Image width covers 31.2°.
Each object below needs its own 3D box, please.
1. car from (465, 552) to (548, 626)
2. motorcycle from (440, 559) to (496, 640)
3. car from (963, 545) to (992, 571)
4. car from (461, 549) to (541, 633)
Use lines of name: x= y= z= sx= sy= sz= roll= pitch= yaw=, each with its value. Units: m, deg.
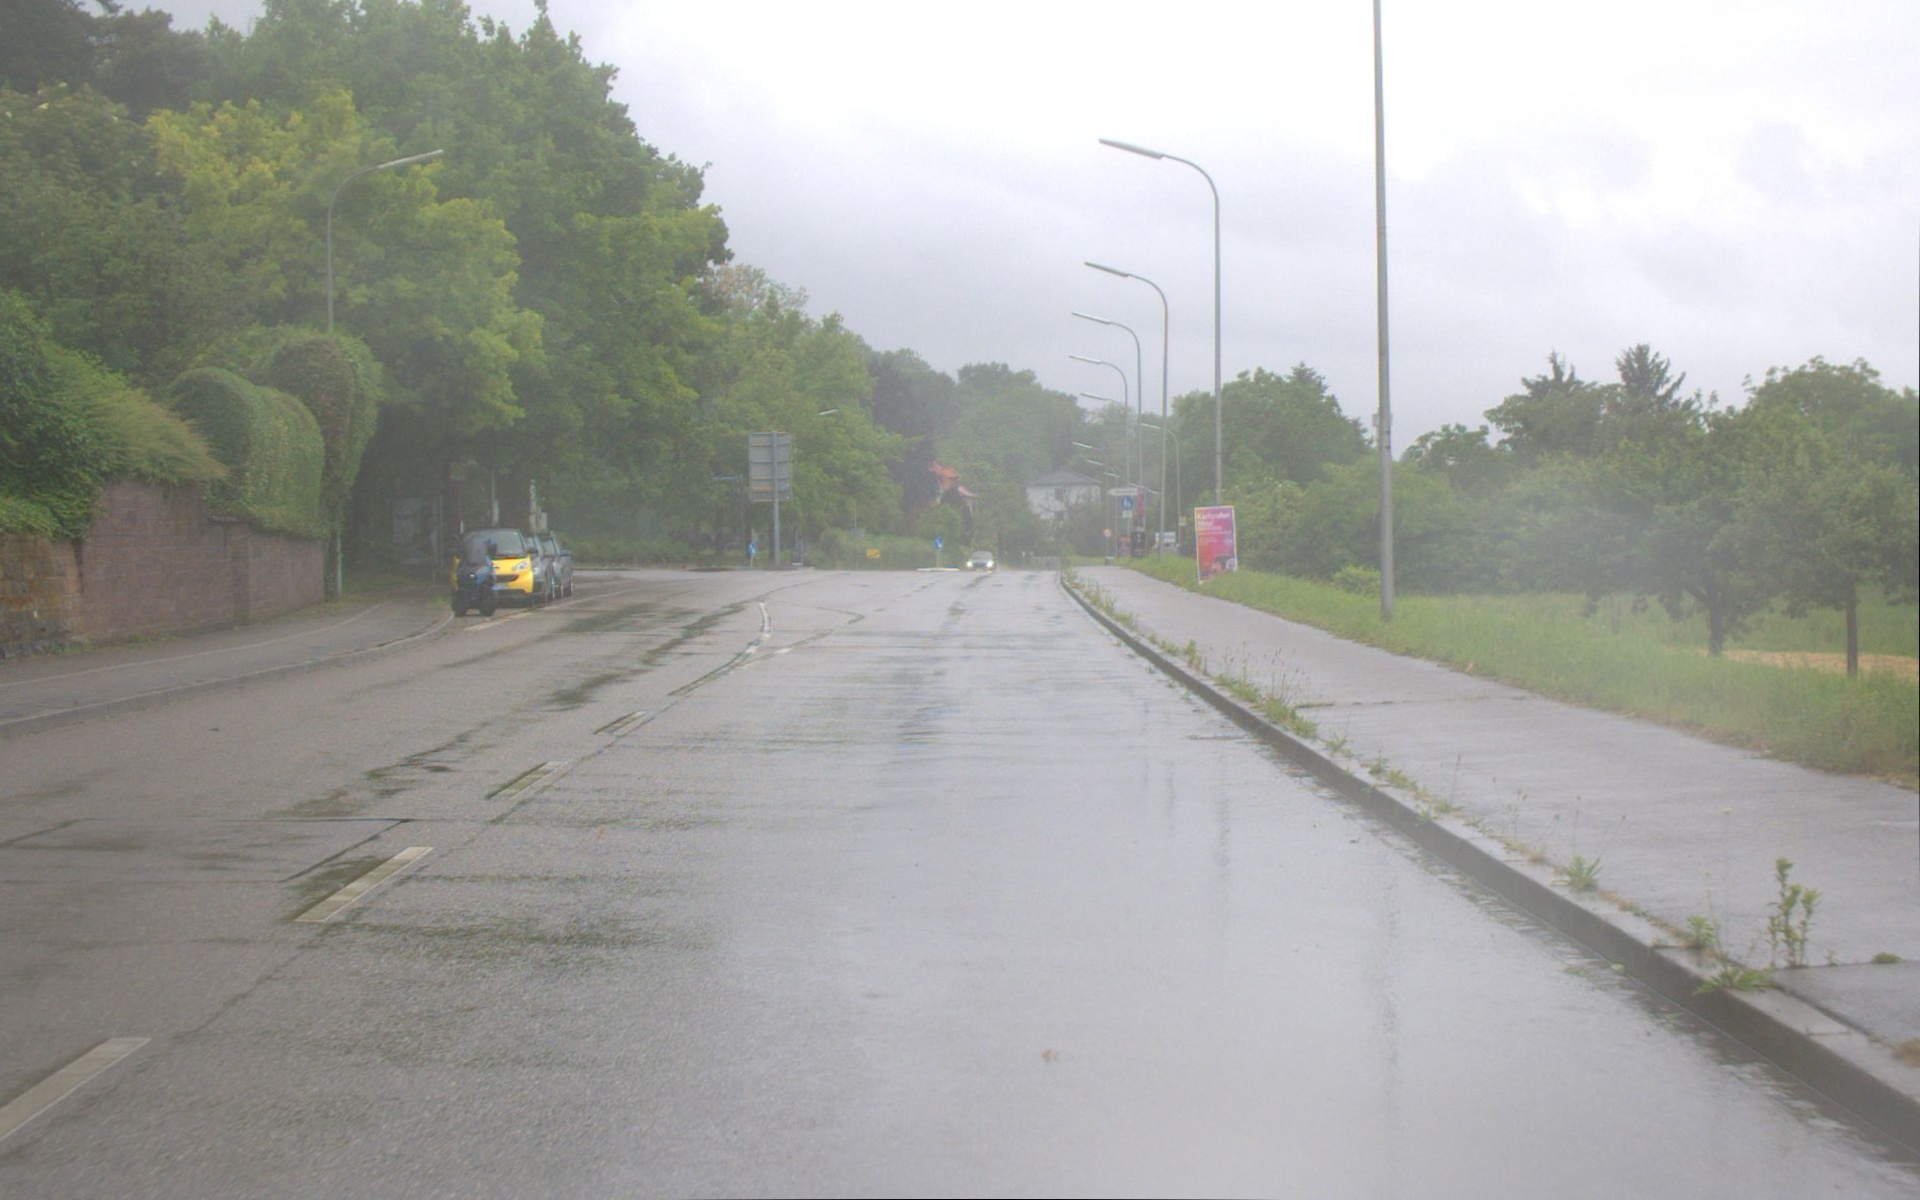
car: x=-9.163 y=-0.245 z=69.684 sx=1.433 sy=1.414 sz=4.105 roll=-1 pitch=1 yaw=-5
motorcycle: x=-8.440 y=-0.026 z=59.029 sx=0.837 sy=1.336 sz=2.500 roll=-1 pitch=1 yaw=-6
car: x=1.157 y=-2.819 z=231.271 sx=1.794 sy=1.756 sz=4.000 roll=0 pitch=1 yaw=-2
car: x=-8.763 y=-0.194 z=65.541 sx=1.433 sy=1.532 sz=2.820 roll=-1 pitch=1 yaw=-8
